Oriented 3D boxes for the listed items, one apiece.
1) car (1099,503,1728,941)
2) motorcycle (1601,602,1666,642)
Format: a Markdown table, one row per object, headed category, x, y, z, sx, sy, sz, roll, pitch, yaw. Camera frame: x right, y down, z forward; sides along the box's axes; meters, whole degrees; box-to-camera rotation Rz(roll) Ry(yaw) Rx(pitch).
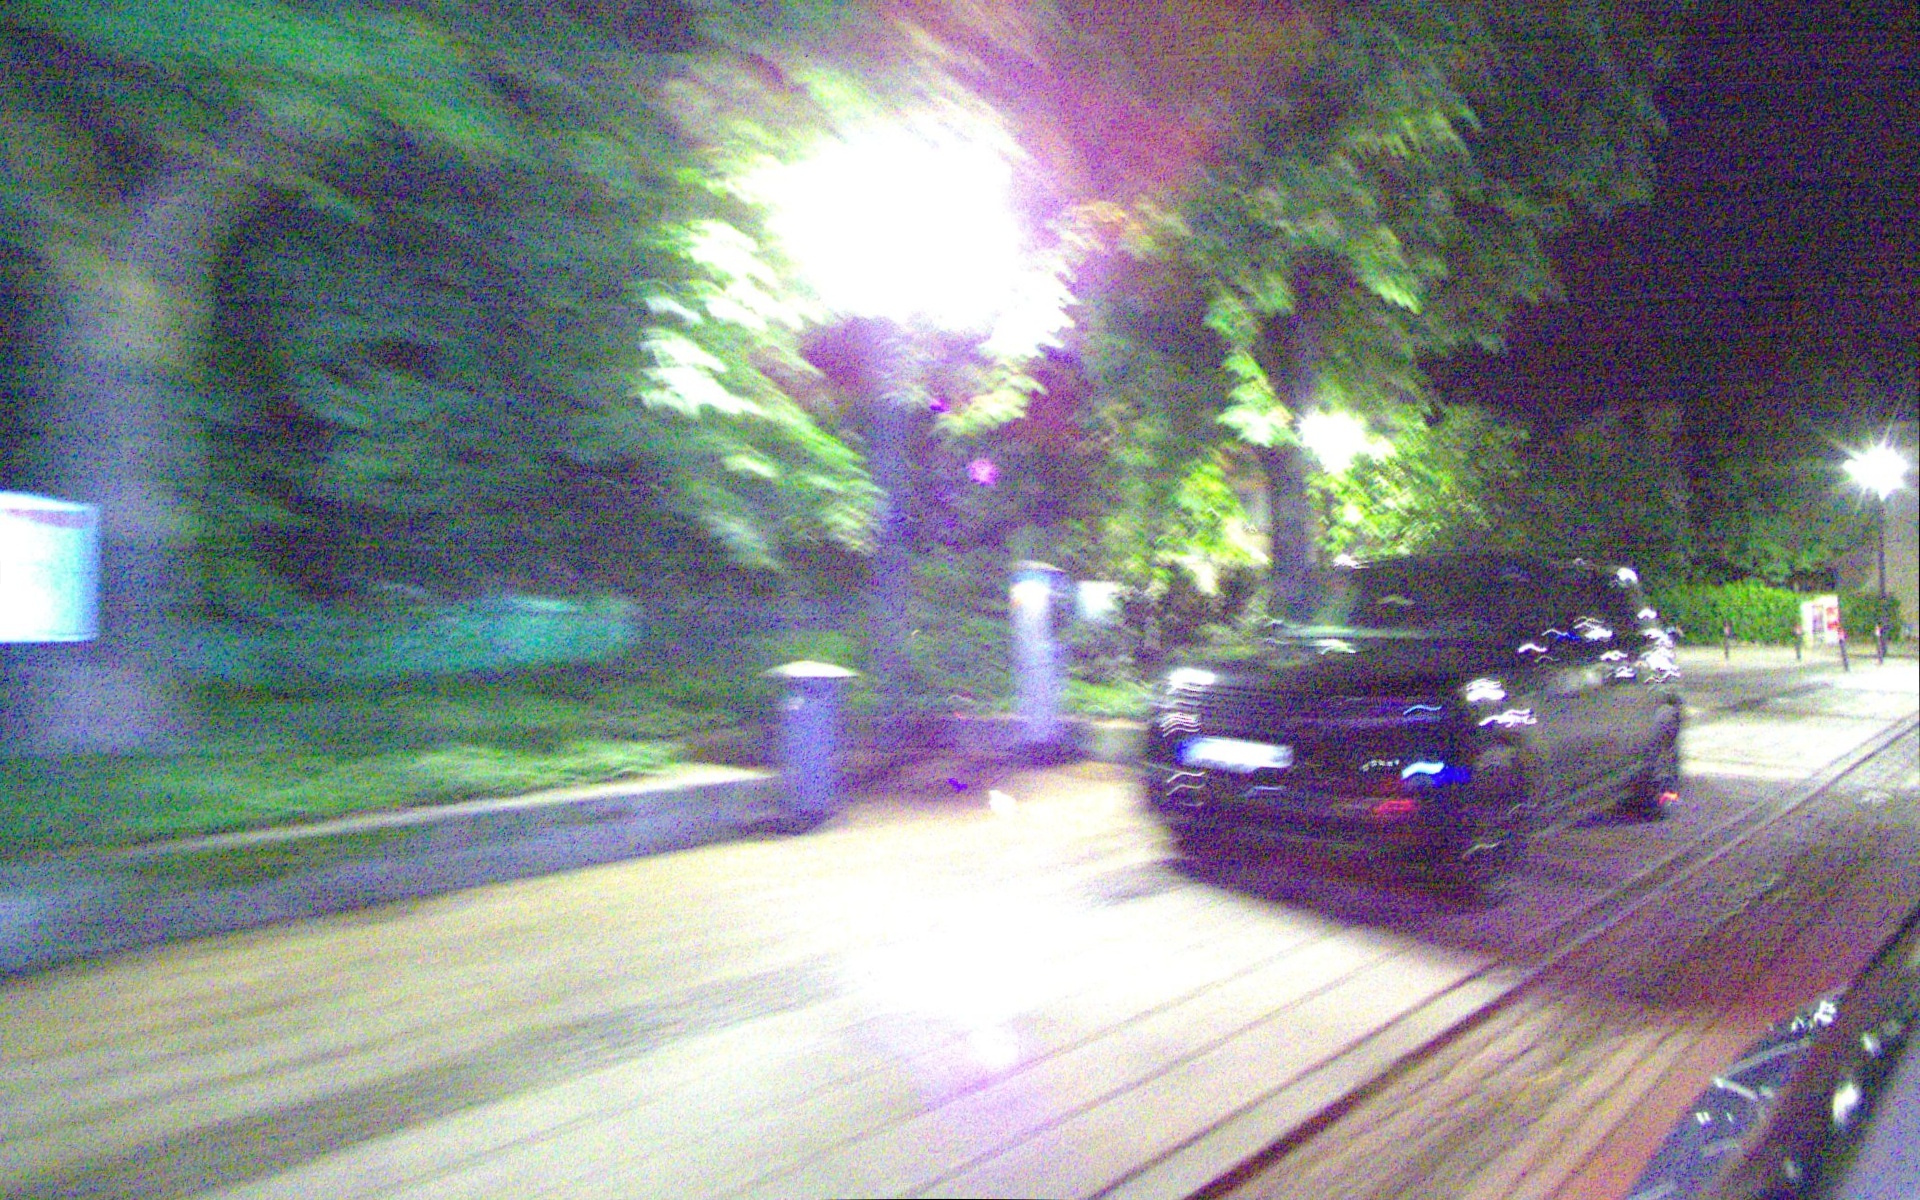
| category | x | y | z | sx | sy | sz | roll | pitch | yaw |
| --- | --- | --- | --- | --- | --- | --- | --- | --- | --- |
| car | 3.224 | 0.506 | 6.572 | 4.852 | 1.826 | 1.910 | 0 | -1 | -42 |
| motorcycle | 22.126 | 0.723 | 33.254 | 1.718 | 1.267 | 0.426 | -1 | -1 | 42 |
